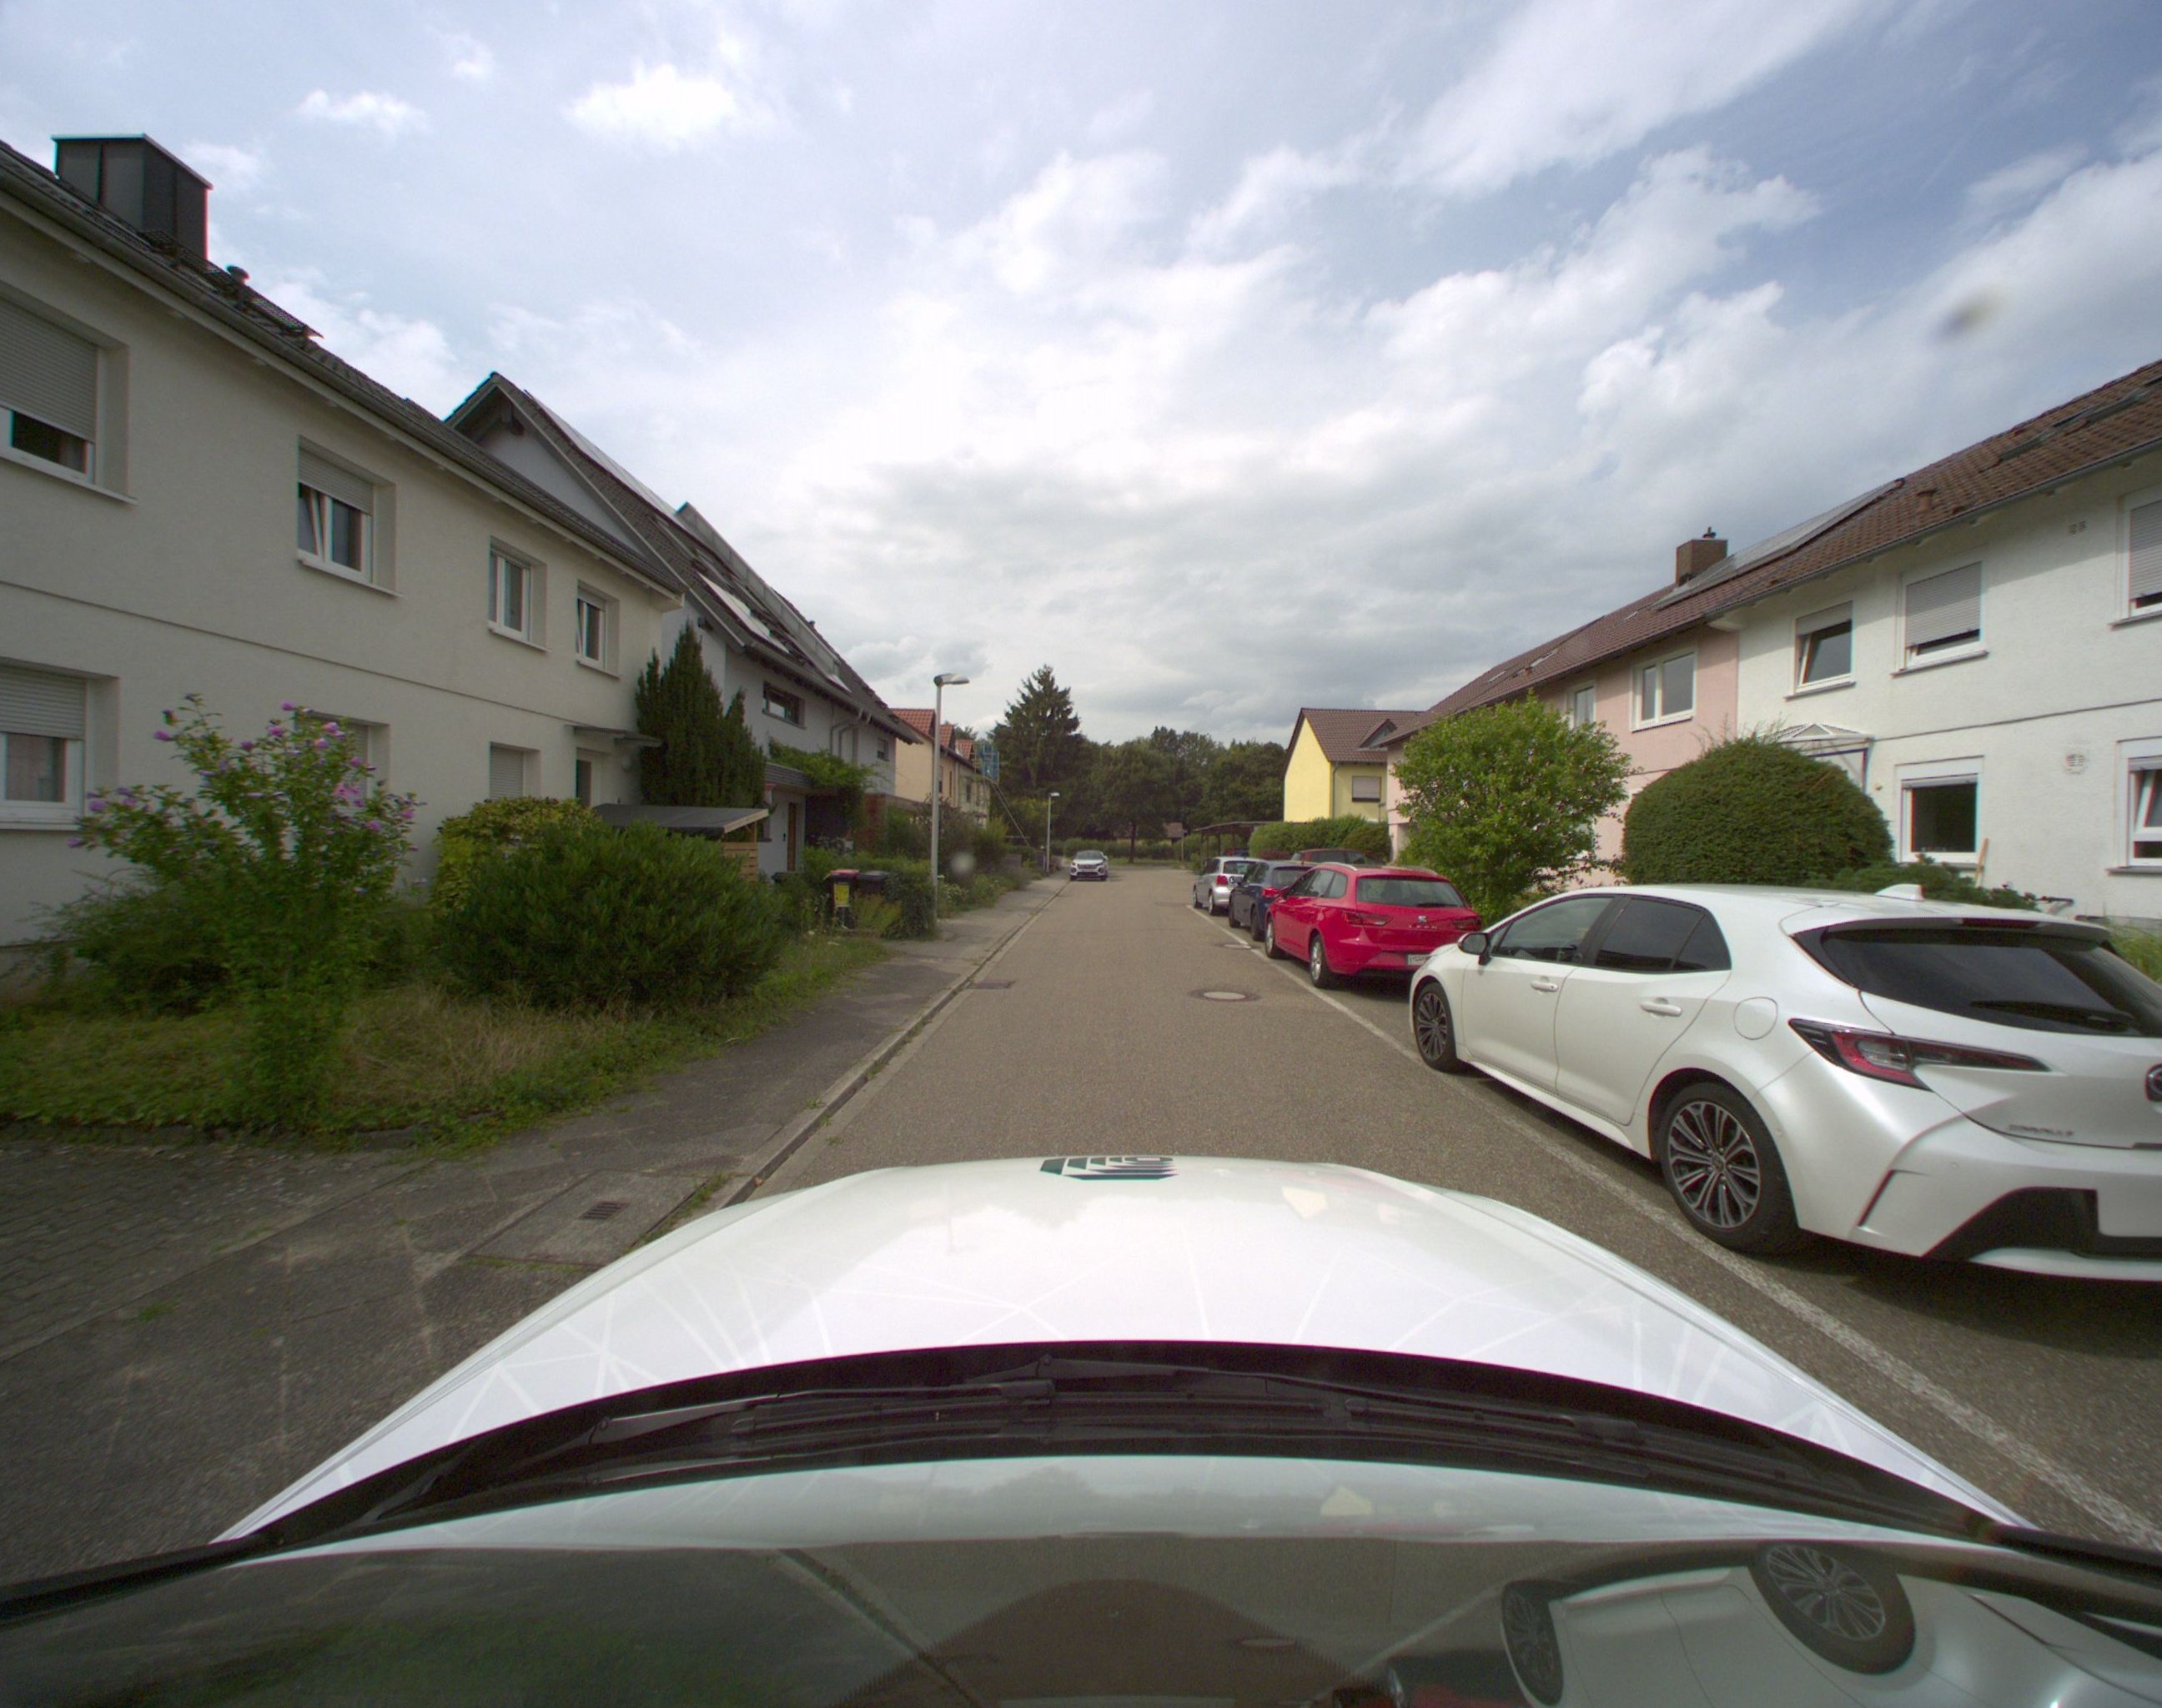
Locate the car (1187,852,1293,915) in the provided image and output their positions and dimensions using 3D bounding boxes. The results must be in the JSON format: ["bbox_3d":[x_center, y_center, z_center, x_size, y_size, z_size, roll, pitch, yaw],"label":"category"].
[{"bbox_3d":[3.986,0.679,21.130,1.859,1.417,4.252,1,1,-1],"label":"car"}]

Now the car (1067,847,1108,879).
[{"bbox_3d":[0.400,0.442,42.115,1.926,1.556,4.637,0,0,2],"label":"car"}]

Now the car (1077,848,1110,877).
[{"bbox_3d":[0.763,0.444,47.510,1.803,1.562,4.849,0,0,1],"label":"car"}]

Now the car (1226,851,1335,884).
[{"bbox_3d":[8.952,0.584,36.762,4.436,1.433,2.027,0,0,-1],"label":"car"}]

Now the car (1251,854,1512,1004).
[{"bbox_3d":[3.596,0.770,10.800,1.767,1.436,4.828,3,0,2],"label":"car"}]

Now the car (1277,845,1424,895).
[{"bbox_3d":[8.809,0.502,26.853,4.253,1.560,1.936,0,0,2],"label":"car"}]

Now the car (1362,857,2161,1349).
[{"bbox_3d":[3.395,0.760,4.785,1.832,1.413,4.635,0,0,-1],"label":"car"}]

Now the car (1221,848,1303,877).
[{"bbox_3d":[9.779,0.425,44.291,4.034,1.522,1.949,0,0,-2],"label":"car"}]

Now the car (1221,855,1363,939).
[{"bbox_3d":[3.863,0.714,15.631,1.766,1.356,4.268,0,0,2],"label":"car"}]

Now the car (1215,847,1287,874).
[{"bbox_3d":[10.233,0.375,49.206,3.946,1.540,1.838,0,0,-1],"label":"car"}]

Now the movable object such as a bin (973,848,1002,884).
[{"bbox_3d":[-3.493,0.426,30.432,0.946,1.312,1.001,0,0,1],"label":"movable object such as a bin"}]
